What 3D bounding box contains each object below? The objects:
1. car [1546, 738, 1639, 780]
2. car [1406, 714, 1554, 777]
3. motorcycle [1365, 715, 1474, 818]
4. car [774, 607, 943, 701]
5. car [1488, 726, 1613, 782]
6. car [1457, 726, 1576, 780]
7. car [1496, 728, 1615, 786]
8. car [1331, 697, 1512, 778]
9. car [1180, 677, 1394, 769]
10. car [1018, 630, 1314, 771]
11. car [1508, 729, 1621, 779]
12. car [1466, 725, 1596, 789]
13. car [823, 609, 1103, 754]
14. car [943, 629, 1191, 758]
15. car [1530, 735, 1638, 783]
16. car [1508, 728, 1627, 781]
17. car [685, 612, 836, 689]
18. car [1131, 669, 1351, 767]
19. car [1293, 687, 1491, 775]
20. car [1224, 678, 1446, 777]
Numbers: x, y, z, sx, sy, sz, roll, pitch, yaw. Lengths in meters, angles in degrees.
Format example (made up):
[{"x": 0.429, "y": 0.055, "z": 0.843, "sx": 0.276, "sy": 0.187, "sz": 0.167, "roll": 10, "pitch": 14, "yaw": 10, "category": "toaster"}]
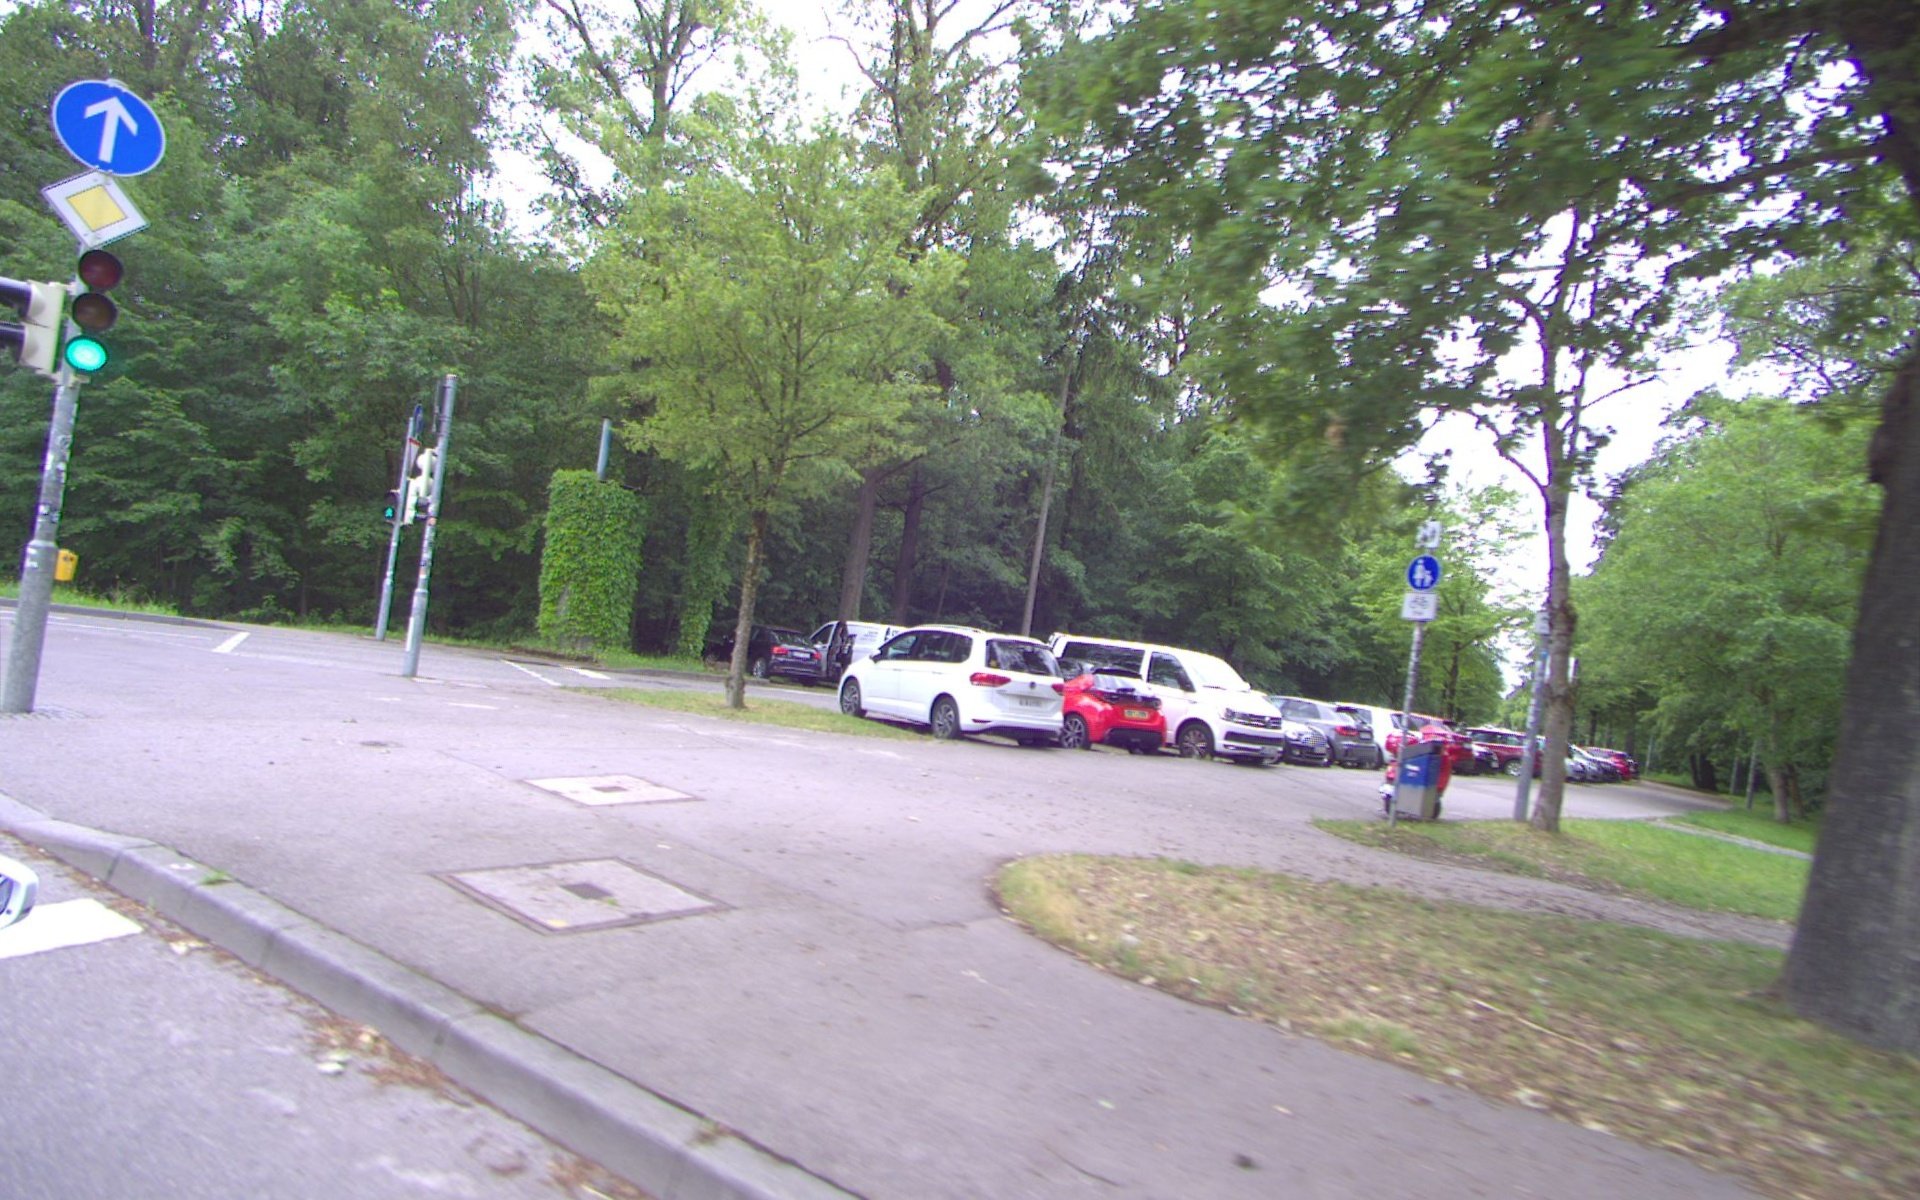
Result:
[{"x": 31.761, "y": 7.973, "z": 50.596, "sx": 3.770, "sy": 1.444, "sz": 1.656, "roll": 6, "pitch": -3, "yaw": 33, "category": "car"}, {"x": 15.981, "y": 4.477, "z": 31.009, "sx": 3.720, "sy": 1.280, "sz": 1.615, "roll": 6, "pitch": -3, "yaw": 40, "category": "car"}, {"x": 6.240, "y": 2.263, "z": 13.599, "sx": 1.948, "sy": 1.217, "sz": 0.583, "roll": 11, "pitch": -4, "yaw": -45, "category": "motorcycle"}, {"x": -2.896, "y": 1.435, "z": 27.787, "sx": 1.988, "sy": 1.899, "sz": 4.894, "roll": 10, "pitch": -4, "yaw": -41, "category": "car"}, {"x": 22.462, "y": 5.852, "z": 38.322, "sx": 3.722, "sy": 1.444, "sz": 1.750, "roll": 6, "pitch": -4, "yaw": 44, "category": "car"}, {"x": 19.279, "y": 5.289, "z": 34.904, "sx": 3.240, "sy": 1.276, "sz": 1.512, "roll": 5, "pitch": -4, "yaw": 44, "category": "car"}, {"x": 21.273, "y": 5.612, "z": 35.984, "sx": 3.338, "sy": 1.457, "sz": 1.515, "roll": 6, "pitch": -3, "yaw": 42, "category": "car"}, {"x": 12.492, "y": 3.707, "z": 27.415, "sx": 1.753, "sy": 1.473, "sz": 4.023, "roll": 10, "pitch": -4, "yaw": -40, "category": "car"}, {"x": 7.148, "y": 2.686, "z": 22.333, "sx": 1.808, "sy": 1.339, "sz": 4.084, "roll": 10, "pitch": -4, "yaw": -40, "category": "car"}, {"x": 3.695, "y": 1.796, "z": 18.920, "sx": 2.050, "sy": 1.978, "sz": 5.129, "roll": 10, "pitch": -5, "yaw": -40, "category": "car"}, {"x": 25.649, "y": 6.522, "z": 42.760, "sx": 3.722, "sy": 1.444, "sz": 1.750, "roll": 6, "pitch": -4, "yaw": 44, "category": "car"}, {"x": 18.365, "y": 5.046, "z": 32.423, "sx": 3.240, "sy": 1.445, "sz": 1.512, "roll": 6, "pitch": -4, "yaw": 44, "category": "car"}, {"x": -0.117, "y": 1.169, "z": 15.523, "sx": 1.984, "sy": 1.569, "sz": 4.379, "roll": 10, "pitch": -3, "yaw": -36, "category": "car"}, {"x": 1.695, "y": 1.521, "z": 17.127, "sx": 1.880, "sy": 1.569, "sz": 3.962, "roll": 10, "pitch": -3, "yaw": -36, "category": "car"}, {"x": 27.775, "y": 7.058, "z": 44.838, "sx": 3.722, "sy": 1.444, "sz": 1.651, "roll": 6, "pitch": -4, "yaw": 44, "category": "car"}, {"x": 24.395, "y": 6.207, "z": 40.477, "sx": 3.722, "sy": 1.444, "sz": 1.750, "roll": 6, "pitch": -4, "yaw": 44, "category": "car"}, {"x": -5.217, "y": 1.288, "z": 26.116, "sx": 3.797, "sy": 1.435, "sz": 1.814, "roll": 6, "pitch": -4, "yaw": 43, "category": "car"}, {"x": 5.627, "y": 2.360, "z": 20.478, "sx": 1.712, "sy": 1.342, "sz": 3.890, "roll": 11, "pitch": -4, "yaw": -42, "category": "car"}, {"x": 10.933, "y": 3.290, "z": 25.683, "sx": 1.808, "sy": 1.512, "sz": 4.154, "roll": 10, "pitch": -4, "yaw": -40, "category": "car"}, {"x": 8.819, "y": 2.983, "z": 23.968, "sx": 1.833, "sy": 1.574, "sz": 4.478, "roll": 11, "pitch": -4, "yaw": -43, "category": "car"}]
